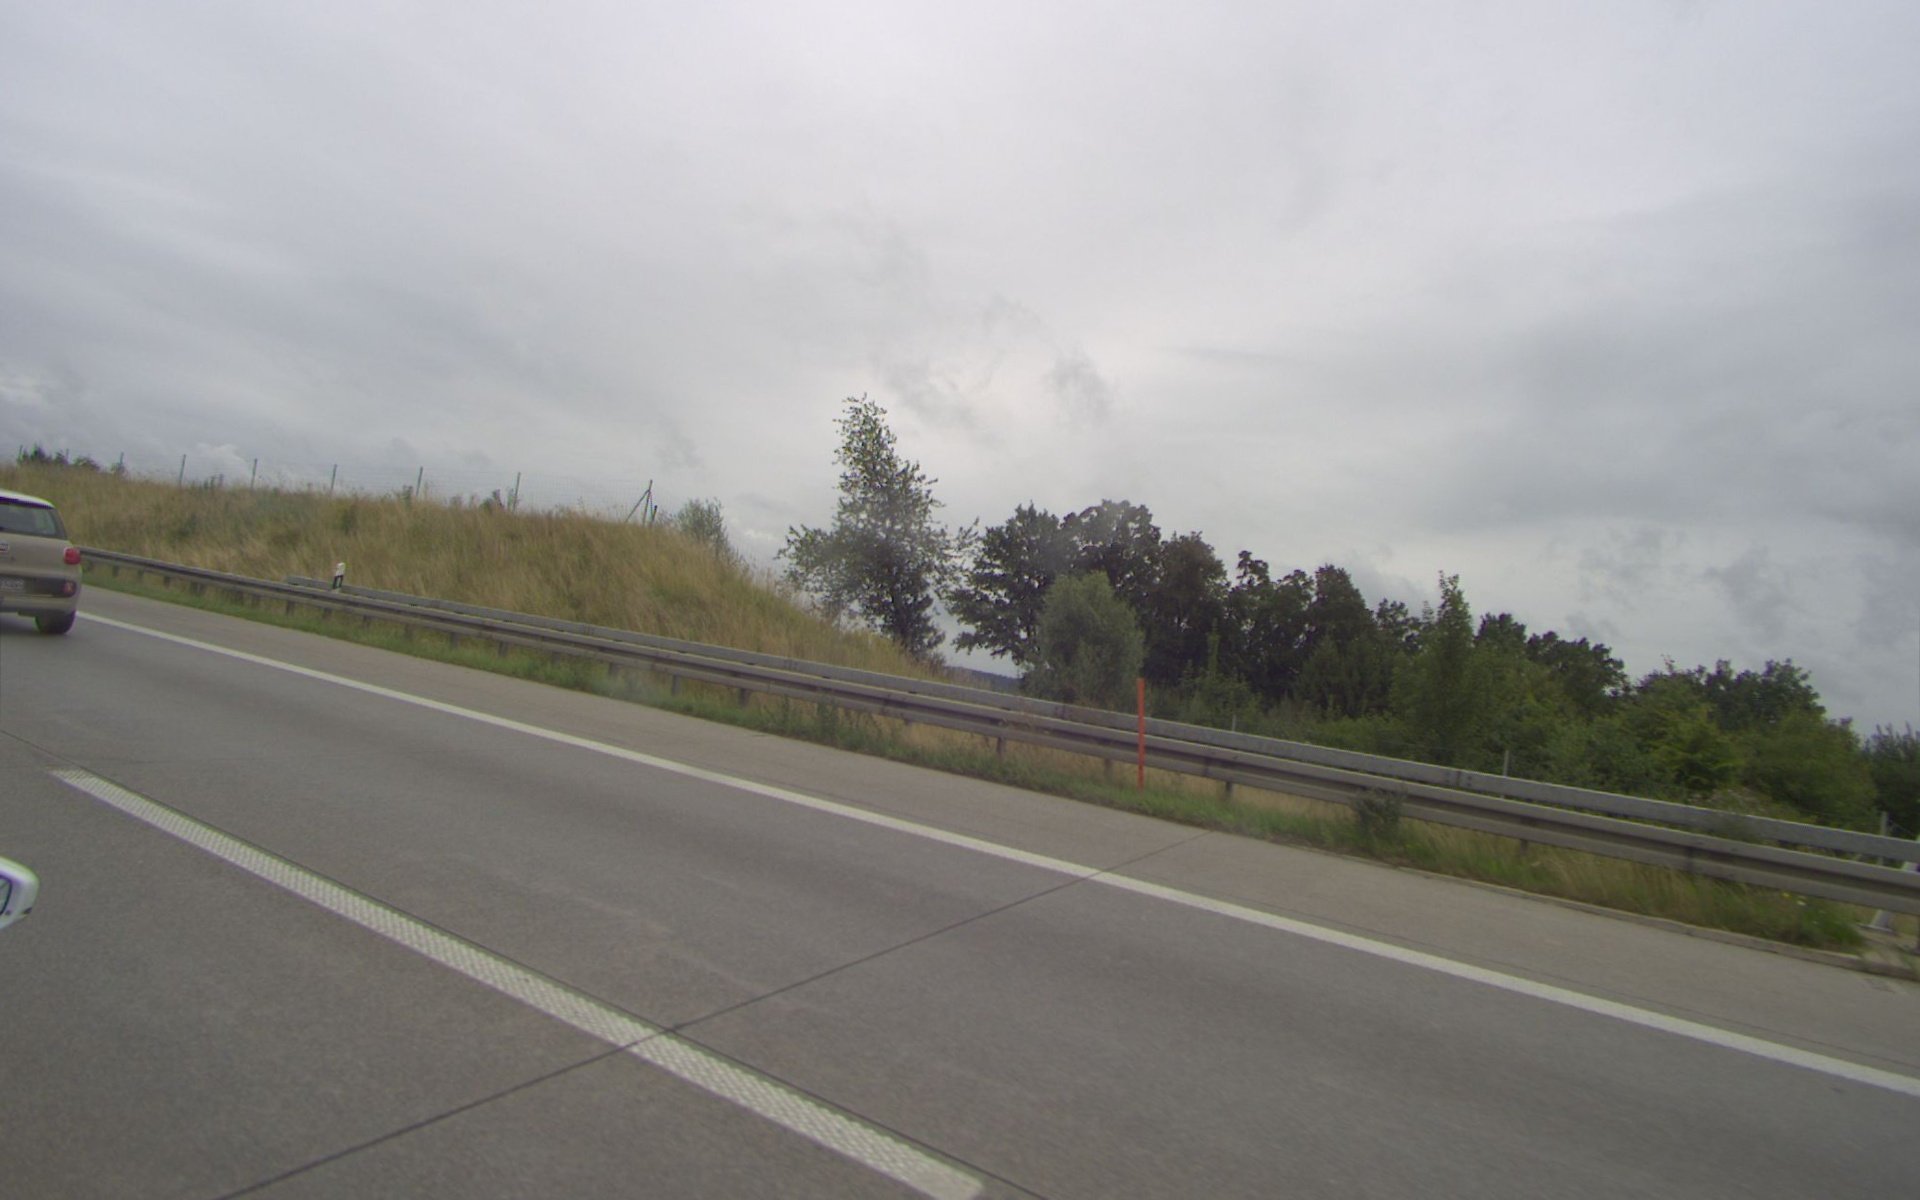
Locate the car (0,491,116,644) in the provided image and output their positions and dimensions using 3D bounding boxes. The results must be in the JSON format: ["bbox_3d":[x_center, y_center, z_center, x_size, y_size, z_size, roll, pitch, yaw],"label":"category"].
[{"bbox_3d":[-12.527,-0.594,12.335,4.493,1.623,1.789,6,-2,30],"label":"car"}]
